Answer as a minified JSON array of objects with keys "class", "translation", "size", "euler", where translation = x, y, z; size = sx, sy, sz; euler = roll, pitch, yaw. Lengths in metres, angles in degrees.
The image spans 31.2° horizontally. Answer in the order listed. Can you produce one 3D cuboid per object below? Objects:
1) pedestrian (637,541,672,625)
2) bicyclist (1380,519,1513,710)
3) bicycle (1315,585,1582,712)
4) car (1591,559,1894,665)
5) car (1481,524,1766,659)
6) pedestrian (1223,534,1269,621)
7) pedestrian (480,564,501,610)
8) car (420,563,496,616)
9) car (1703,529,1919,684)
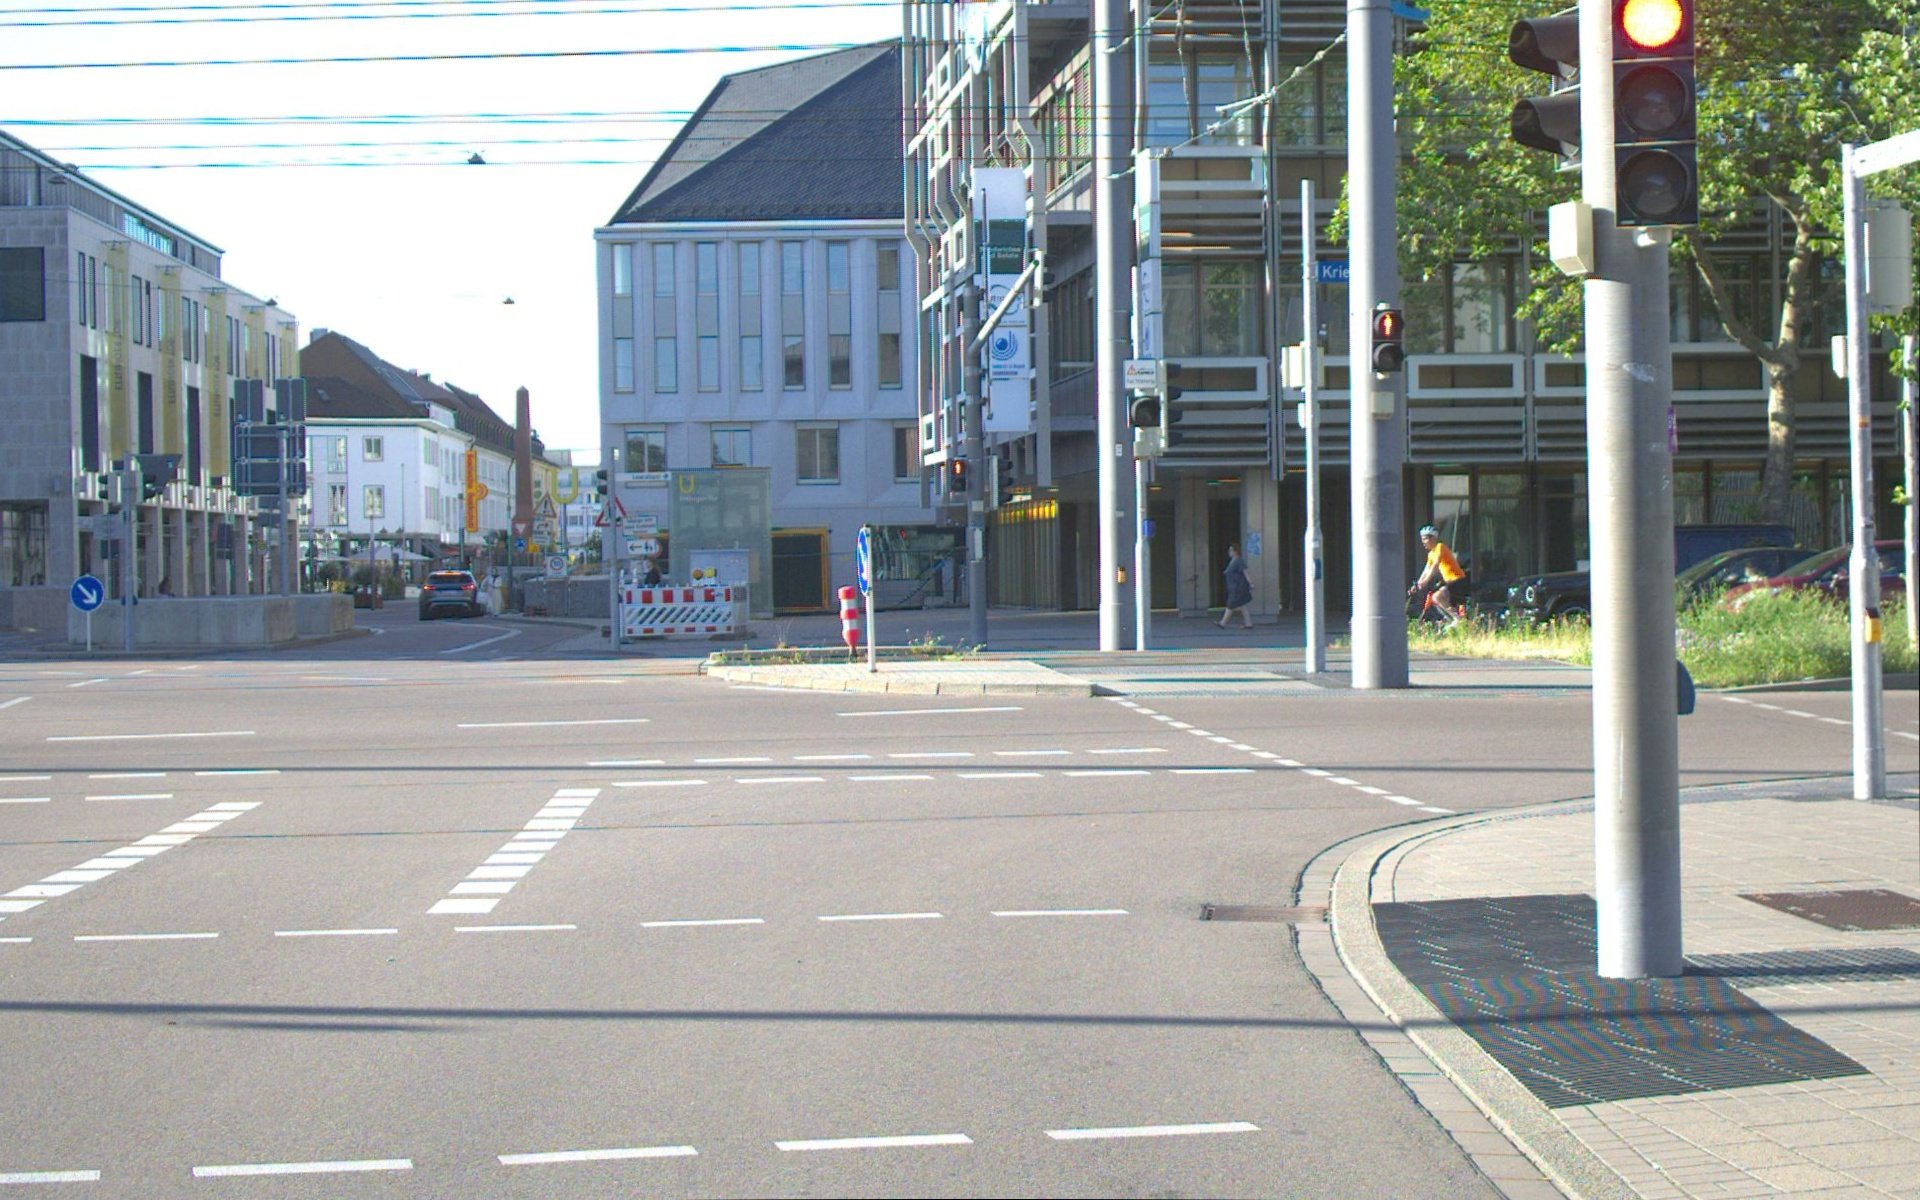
[{"class":"pedestrian","translation":[-6.100,-0.344,68.656],"size":[0.663,1.652,0.755],"euler":[-1,1,-3]},{"class":"bicyclist","translation":[6.659,0.191,47.134],"size":[1.567,2.571,0.932],"euler":[-1,1,-9]},{"class":"bicycle","translation":[6.691,0.650,47.141],"size":[3.490,1.653,0.932],"euler":[-1,1,-9]},{"class":"car","translation":[11.492,0.160,50.655],"size":[3.986,1.503,1.868],"euler":[0,1,-3]},{"class":"car","translation":[10.343,-0.141,53.772],"size":[3.986,2.007,2.000],"euler":[1,0,-3]},{"class":"pedestrian","translation":[5.478,-0.432,65.865],"size":[0.729,1.652,0.651],"euler":[-1,1,-7]},{"class":"pedestrian","translation":[-14.599,-0.415,106.887],"size":[0.609,1.406,0.570],"euler":[-1,1,-6]},{"class":"car","translation":[-15.808,-0.353,108.418],"size":[2.199,1.601,4.327],"euler":[-1,1,-6]},{"class":"car","translation":[12.285,0.090,46.403],"size":[3.986,2.007,2.000],"euler":[1,0,-3]}]
